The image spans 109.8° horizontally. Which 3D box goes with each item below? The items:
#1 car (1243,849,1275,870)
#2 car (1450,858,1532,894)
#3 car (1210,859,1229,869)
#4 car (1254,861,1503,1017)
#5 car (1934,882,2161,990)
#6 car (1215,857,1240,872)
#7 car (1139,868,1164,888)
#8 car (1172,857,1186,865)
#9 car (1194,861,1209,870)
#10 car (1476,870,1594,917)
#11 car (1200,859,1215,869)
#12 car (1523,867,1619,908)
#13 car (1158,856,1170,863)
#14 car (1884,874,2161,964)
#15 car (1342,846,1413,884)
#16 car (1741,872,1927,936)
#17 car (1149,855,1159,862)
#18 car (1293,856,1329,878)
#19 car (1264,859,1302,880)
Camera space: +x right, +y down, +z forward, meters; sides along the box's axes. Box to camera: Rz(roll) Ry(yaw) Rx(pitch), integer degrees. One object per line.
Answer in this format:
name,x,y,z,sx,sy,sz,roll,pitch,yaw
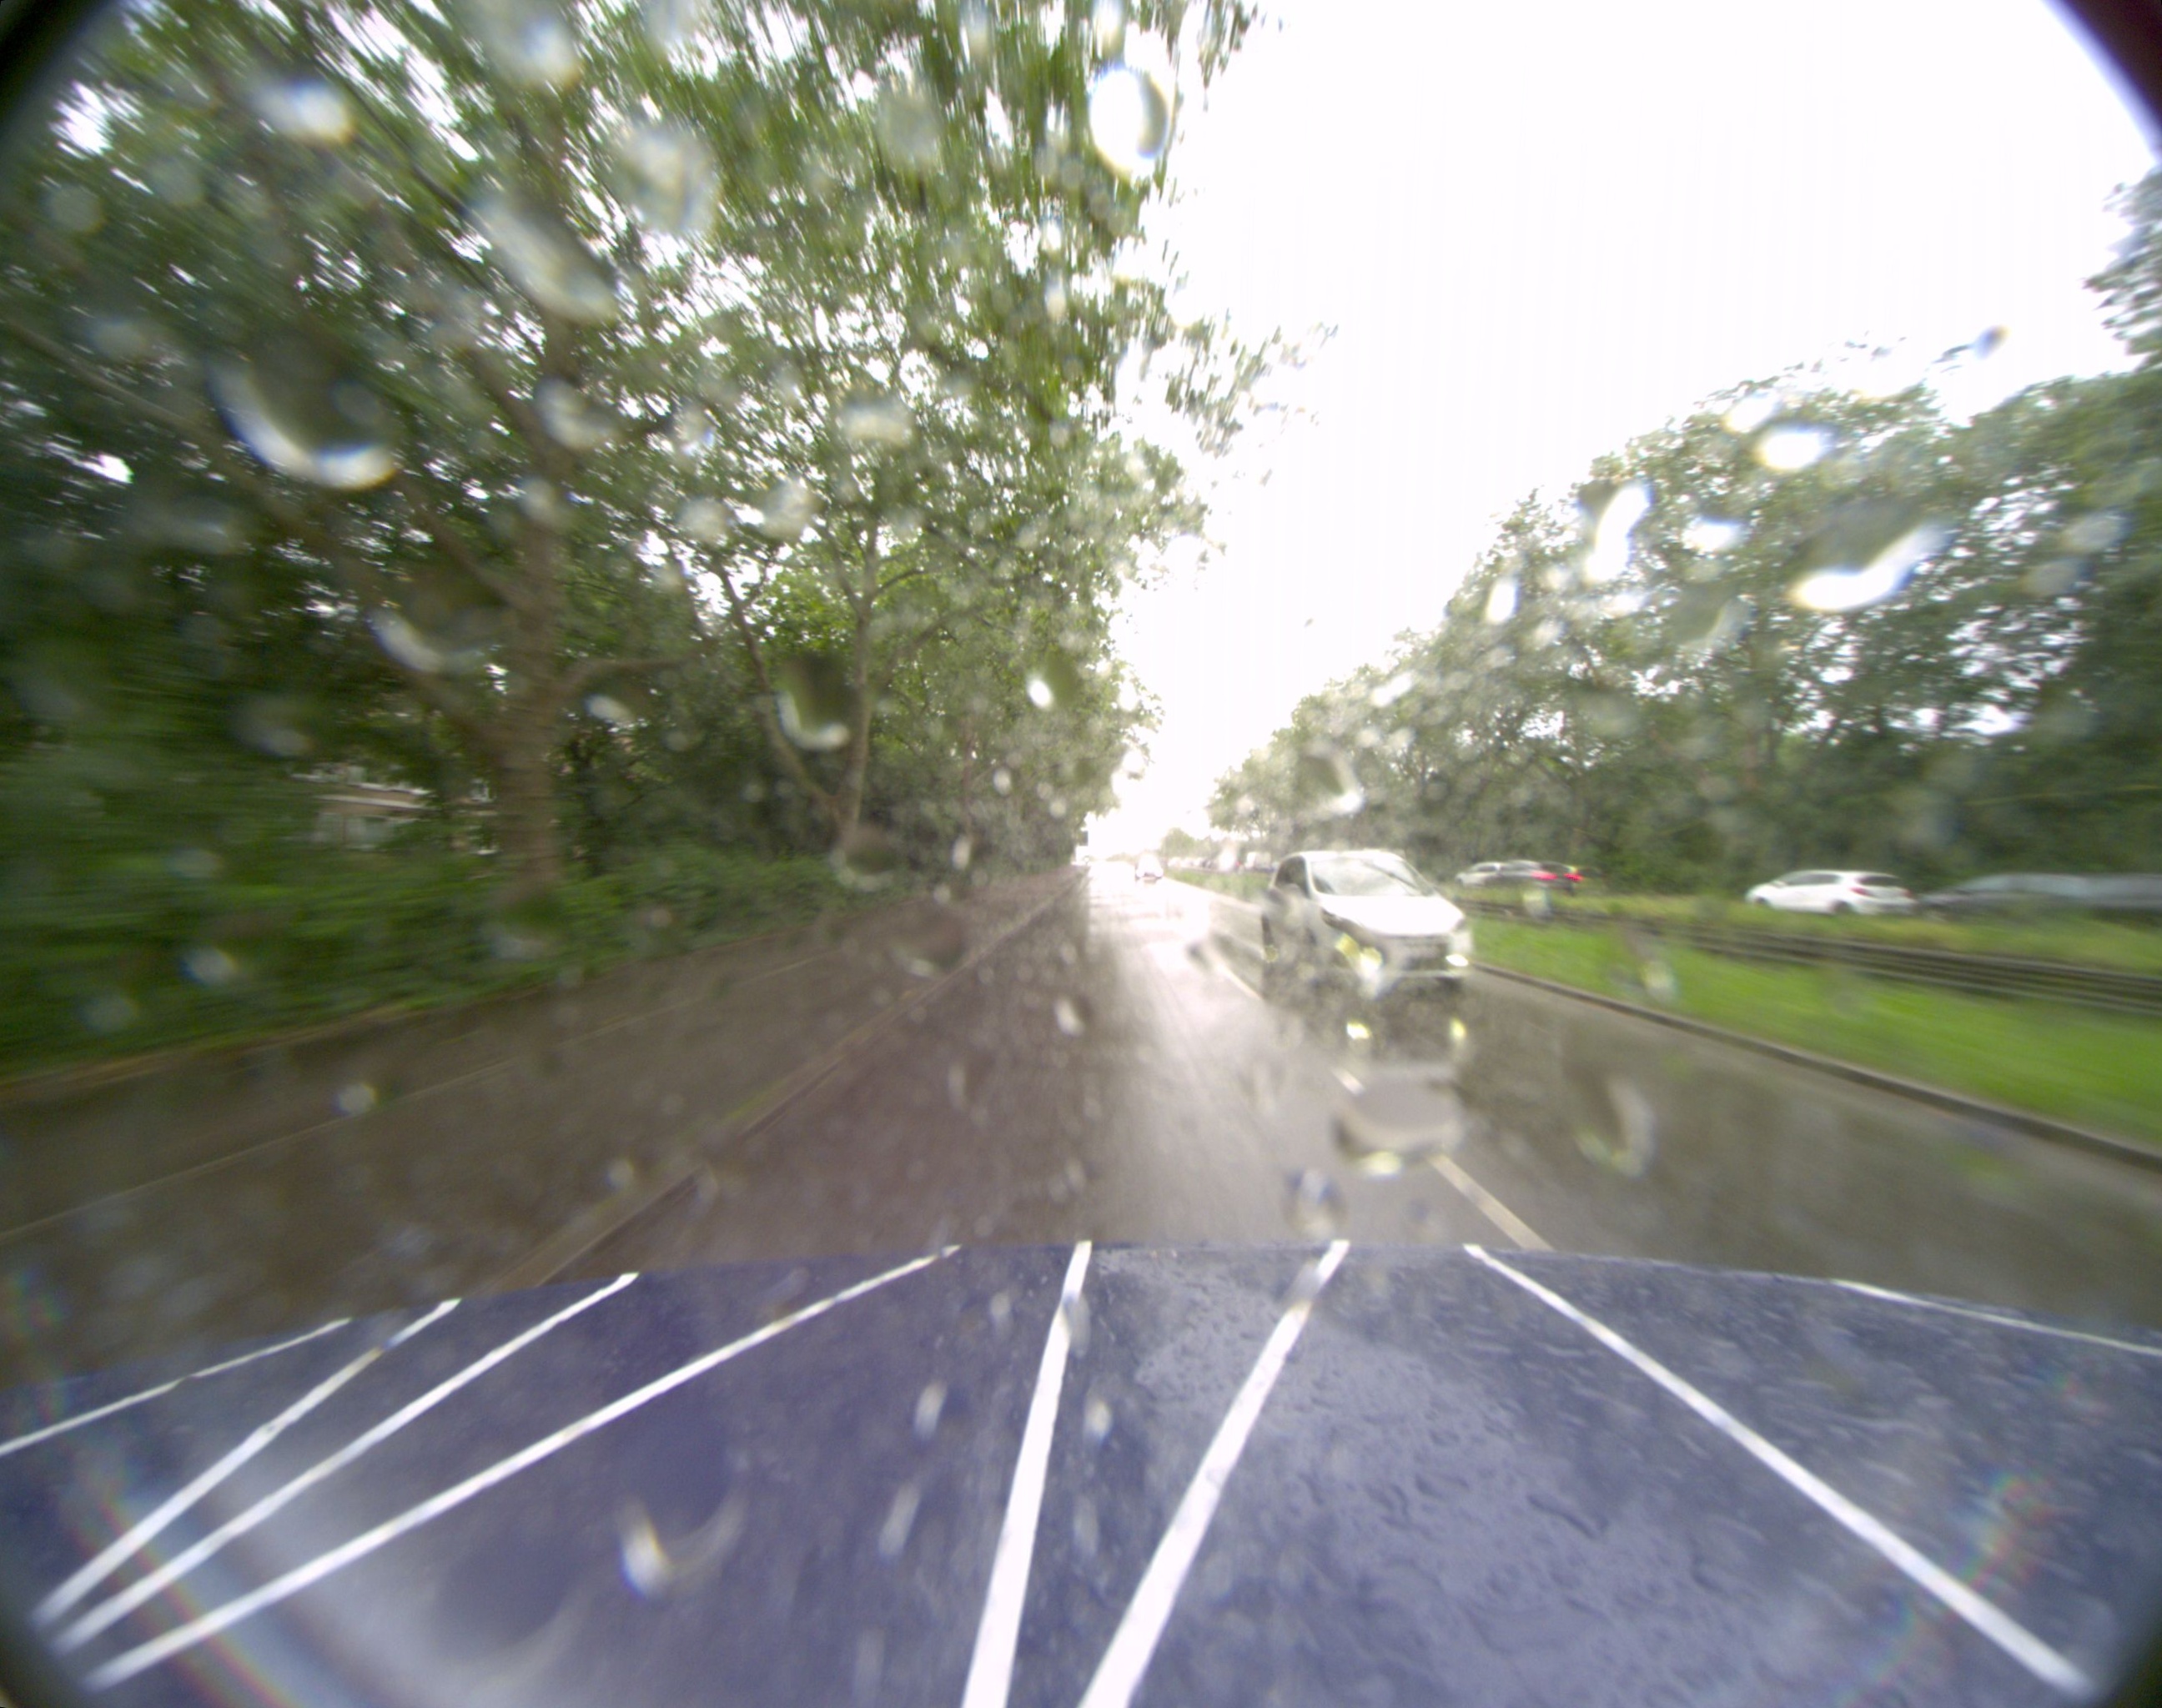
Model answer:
car,21.633,0.674,92.621,2.335,2.431,6.139,2,0,0
car,21.573,1.098,40.180,1.755,1.718,4.531,2,0,-1
car,21.800,1.591,119.400,2.038,1.543,4.384,2,0,-1
car,3.612,0.922,10.149,1.869,1.614,4.264,0,0,3
car,18.538,1.425,13.426,2.037,1.648,4.276,2,0,-2
car,17.703,1.293,92.007,2.037,1.741,4.259,2,0,-1
car,5.397,1.800,58.527,1.726,1.425,3.852,0,0,2
car,19.006,1.381,147.100,1.983,1.557,4.768,2,0,-1
car,21.802,2.007,137.055,1.890,1.502,4.579,2,0,-1
car,18.230,1.522,30.776,2.019,1.648,4.395,2,0,-1
car,21.721,1.636,130.644,1.890,1.640,4.369,2,0,0
car,21.912,1.471,34.164,1.766,1.638,3.813,2,0,-1
car,18.486,1.177,169.273,2.038,1.543,4.566,1,0,1
car,22.462,1.413,17.896,2.037,1.741,4.694,2,0,-1
car,21.457,0.784,55.381,2.396,2.526,6.566,2,0,-1
car,22.494,1.433,22.935,1.766,1.638,3.813,2,0,-1
car,19.646,1.220,204.106,2.038,1.543,4.997,2,0,-1
car,21.383,1.180,70.864,1.961,1.851,4.641,2,0,0
car,18.036,1.366,68.132,2.037,1.741,4.694,2,0,-1
